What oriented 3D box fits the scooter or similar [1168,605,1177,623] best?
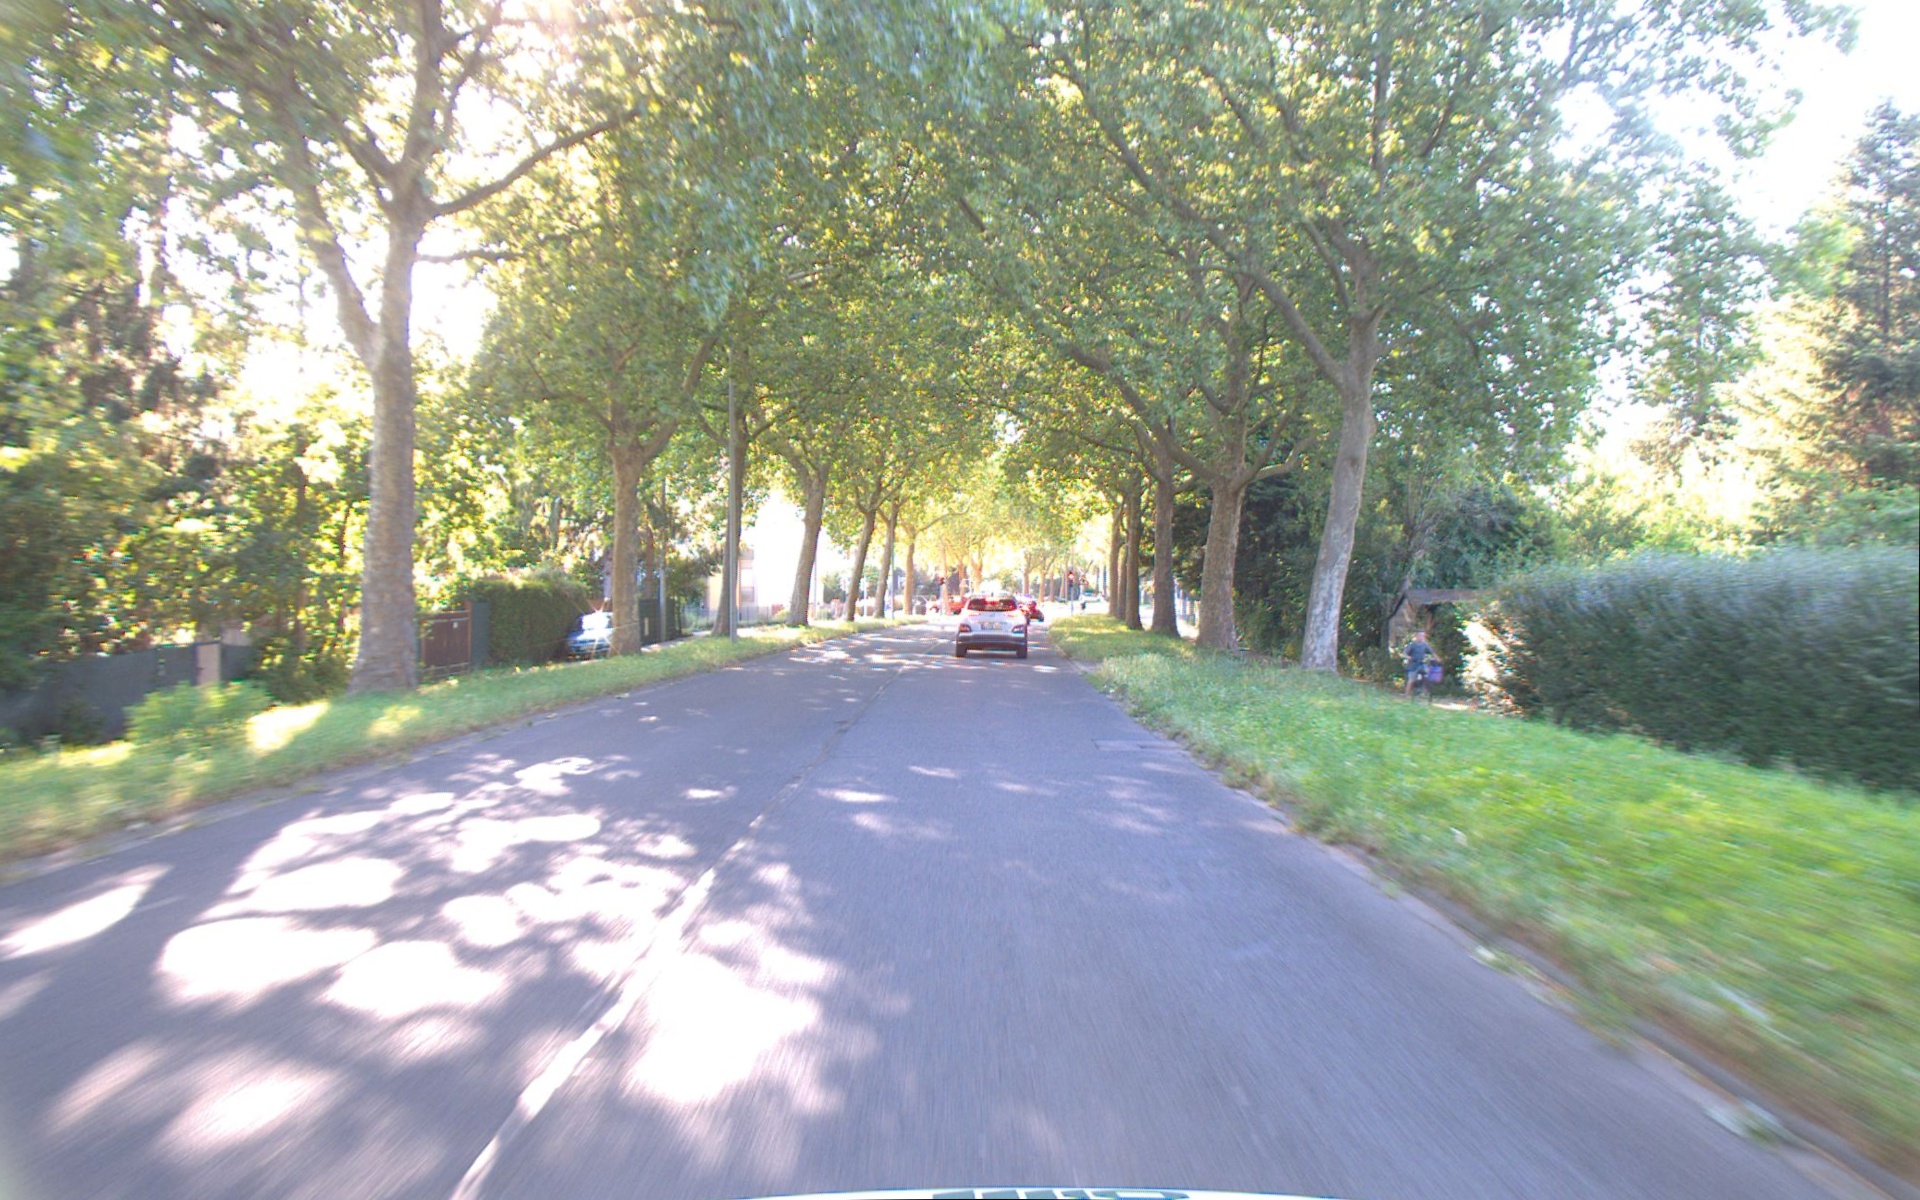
[{"bbox_3d":[14.738,0.970,114.885,0.538,1.280,2.314,1,0,5],"label":"scooter or similar"}]

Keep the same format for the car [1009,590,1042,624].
[{"bbox_3d":[4.143,0.443,104.940,1.952,2.049,4.000,1,0,1],"label":"car"}]

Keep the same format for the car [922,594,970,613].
[{"bbox_3d":[-1.183,0.308,141.234,3.903,1.504,2.001,1,-1,5],"label":"car"}]

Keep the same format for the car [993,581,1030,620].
[{"bbox_3d":[2.868,0.040,91.064,1.952,2.049,4.001,1,0,2],"label":"car"}]

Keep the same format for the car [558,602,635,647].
[{"bbox_3d":[-11.841,0.767,54.147,1.716,1.327,3.999,-1,1,-2],"label":"car"}]

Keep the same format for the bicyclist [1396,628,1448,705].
[{"bbox_3d":[8.601,1.235,30.819,0.719,1.390,0.770,1,-1,-3],"label":"bicyclist"}]

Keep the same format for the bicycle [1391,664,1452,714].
[{"bbox_3d":[8.611,1.653,30.904,0.541,0.831,1.888,1,0,-2],"label":"bicycle"}]

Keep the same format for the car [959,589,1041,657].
[{"bbox_3d":[1.039,0.565,42.193,1.952,1.602,4.001,1,0,2],"label":"car"}]
